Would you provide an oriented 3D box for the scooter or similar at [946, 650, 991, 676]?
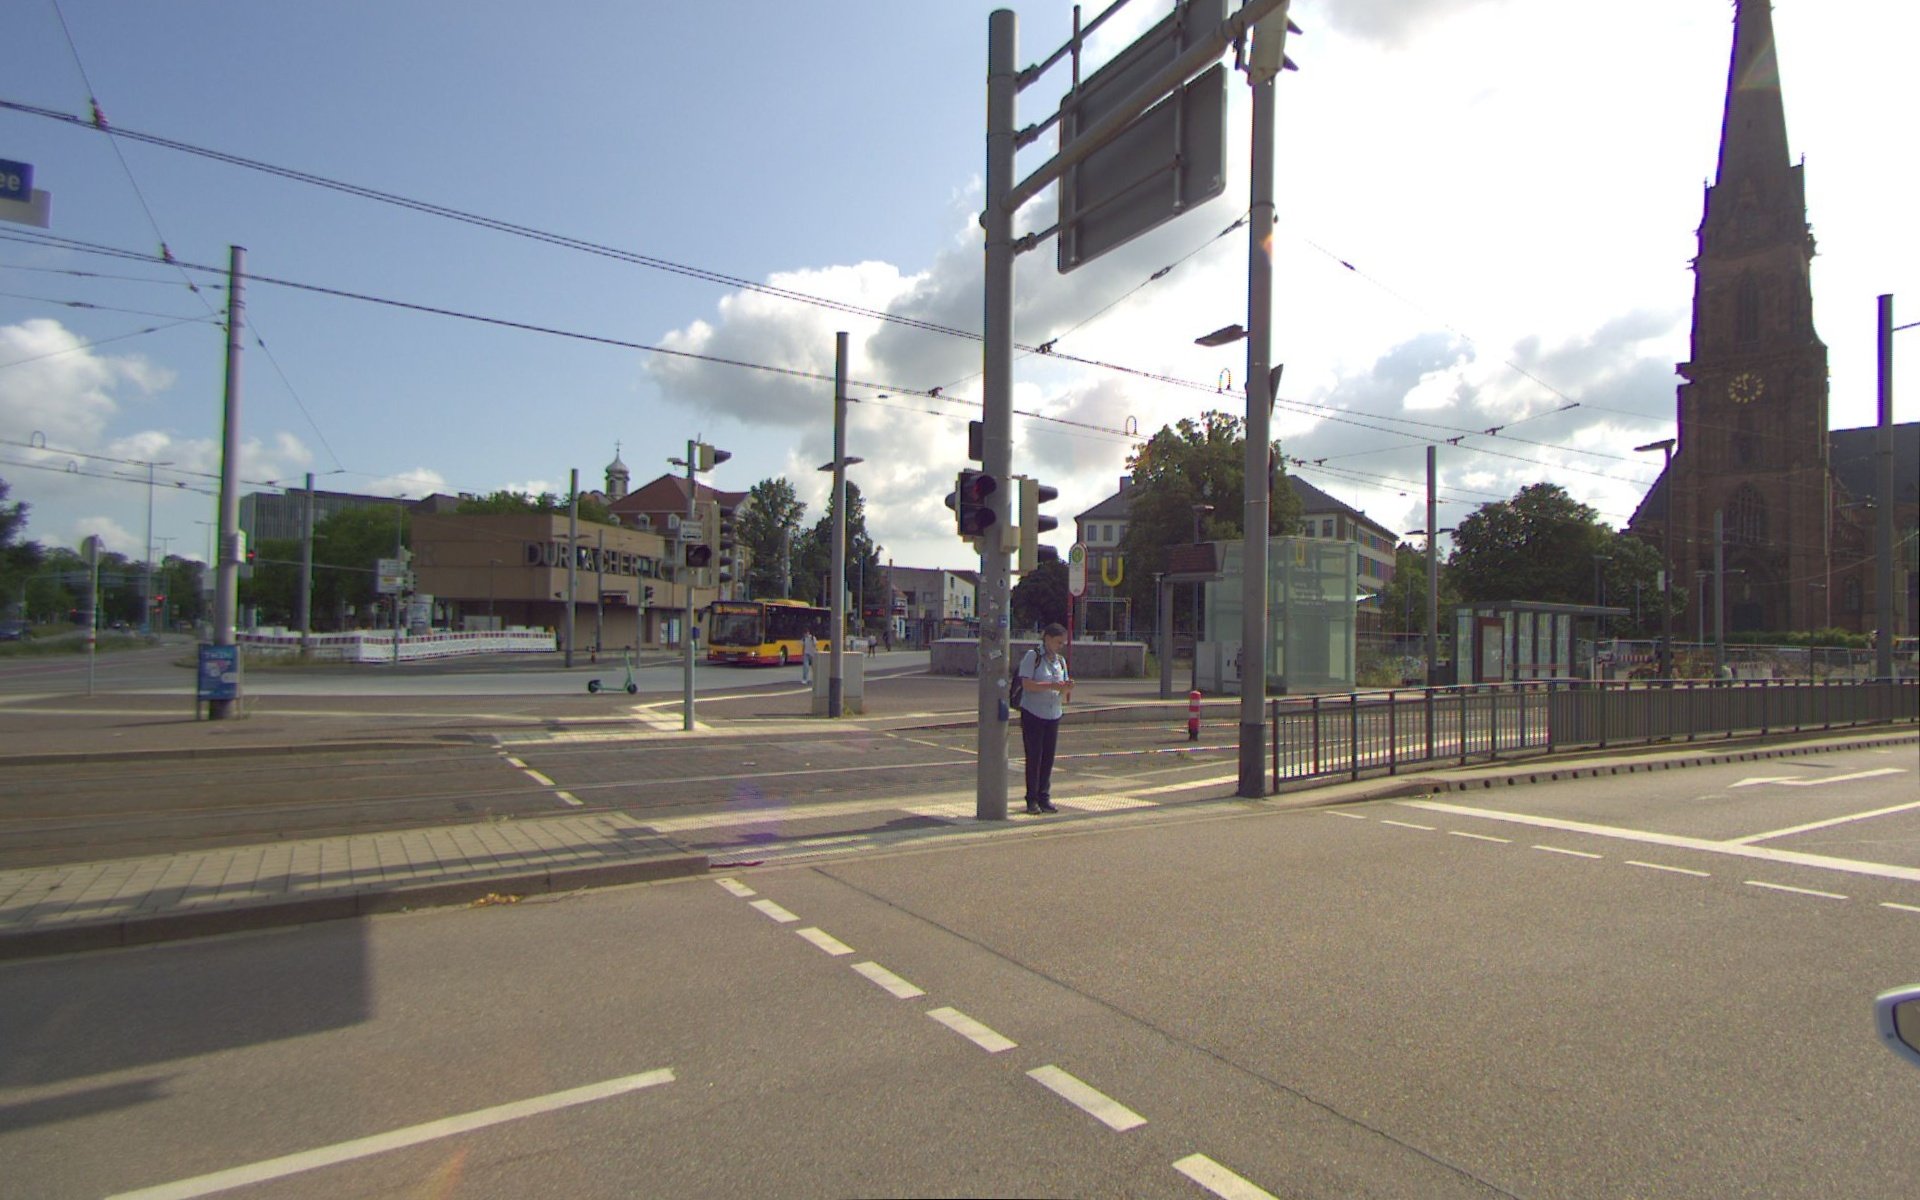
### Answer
[{"bbox_3d":[0.322,2.363,37.691,1.630,0.962,0.474,0,-2,13],"label":"scooter or similar"}]

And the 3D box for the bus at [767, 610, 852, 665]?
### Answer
[{"bbox_3d":[-7.529,1.901,50.850,2.647,2.621,5.082,0,-2,11],"label":"bus"}]

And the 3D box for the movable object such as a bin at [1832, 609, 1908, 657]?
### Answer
[{"bbox_3d":[74.601,2.698,82.338,5.516,3.780,2.658,0,-1,-25],"label":"movable object such as a bin"}]

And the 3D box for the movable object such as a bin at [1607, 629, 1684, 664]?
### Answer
[{"bbox_3d":[56.422,3.798,82.808,1.977,2.838,4.879,2,-2,-31],"label":"movable object such as a bin"}]

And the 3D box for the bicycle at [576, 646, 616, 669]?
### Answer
[{"bbox_3d":[-17.330,2.765,47.823,0.796,1.005,2.072,3,-4,10],"label":"bicycle"}]

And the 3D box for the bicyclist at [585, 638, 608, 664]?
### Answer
[{"bbox_3d":[-17.317,2.421,47.844,0.683,1.167,0.739,3,-4,10],"label":"bicyclist"}]

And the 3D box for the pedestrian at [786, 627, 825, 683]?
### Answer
[{"bbox_3d":[-4.861,1.714,31.663,0.911,1.712,1.098,0,0,9],"label":"pedestrian"}]

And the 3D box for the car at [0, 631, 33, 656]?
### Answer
[{"bbox_3d":[-71.045,3.250,74.855,1.847,1.613,3.639,4,-2,-28],"label":"car"}]

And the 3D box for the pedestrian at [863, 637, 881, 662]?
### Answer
[{"bbox_3d":[-5.520,3.105,63.114,0.794,1.542,0.840,2,-3,-44],"label":"pedestrian"}]

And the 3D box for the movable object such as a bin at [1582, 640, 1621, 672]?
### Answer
[{"bbox_3d":[49.478,4.299,77.432,1.970,2.235,4.251,-1,-1,40],"label":"movable object such as a bin"}]

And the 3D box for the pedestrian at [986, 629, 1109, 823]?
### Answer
[{"bbox_3d":[0.808,1.128,9.396,0.787,1.695,0.837,0,-2,-34],"label":"pedestrian"}]

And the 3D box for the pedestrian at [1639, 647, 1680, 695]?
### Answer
[{"bbox_3d":[28.270,2.860,40.605,1.033,1.824,0.994,-2,2,-26],"label":"pedestrian"}]

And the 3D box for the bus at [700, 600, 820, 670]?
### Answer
[{"bbox_3d":[-8.744,1.568,44.865,2.645,2.870,7.106,0,-2,12],"label":"bus"}]

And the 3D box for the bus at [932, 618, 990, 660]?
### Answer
[{"bbox_3d":[0.280,3.608,92.796,2.905,3.554,12.264,0,-2,12],"label":"bus"}]

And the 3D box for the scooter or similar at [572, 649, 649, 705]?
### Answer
[{"bbox_3d":[-8.502,1.871,24.423,1.477,1.204,1.328,5,-1,-30],"label":"scooter or similar"}]
